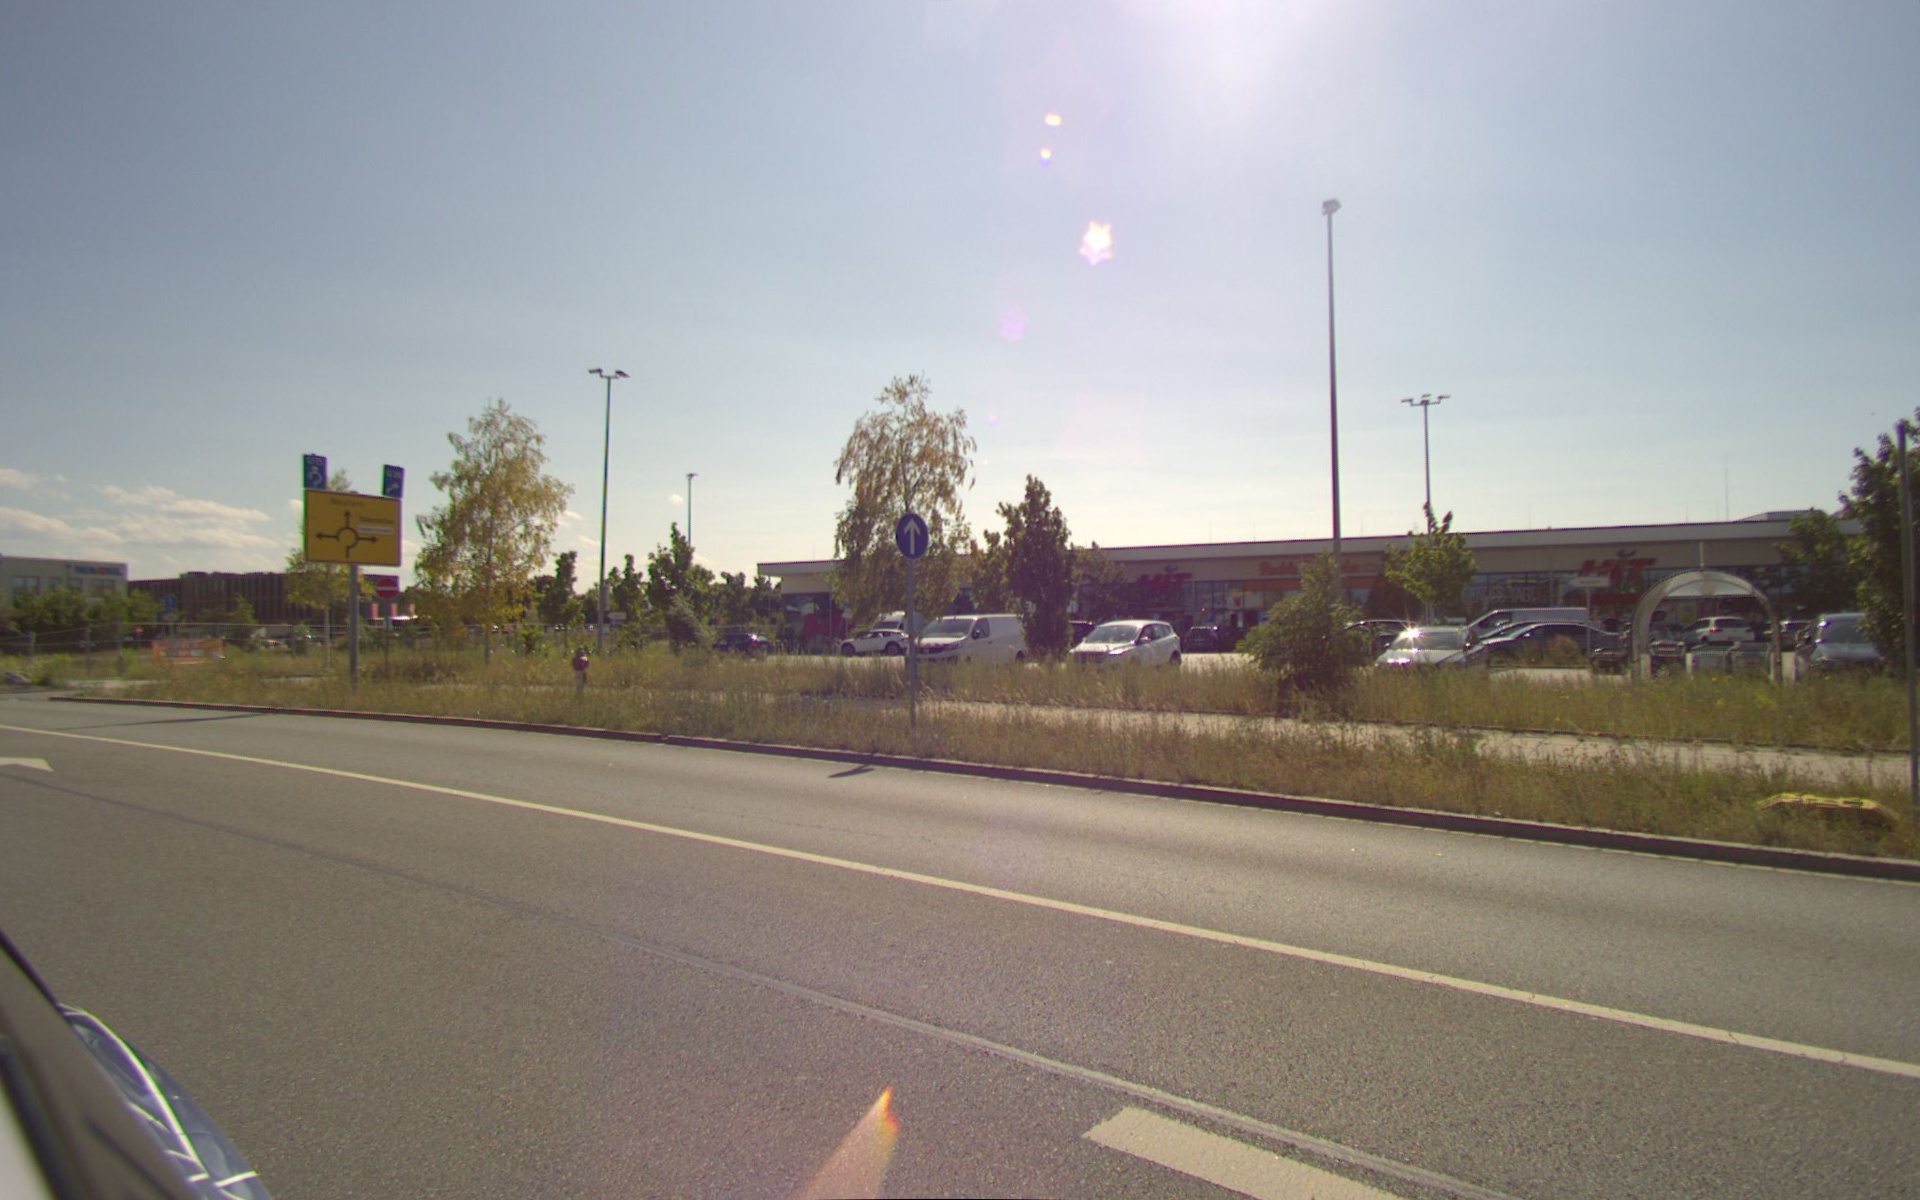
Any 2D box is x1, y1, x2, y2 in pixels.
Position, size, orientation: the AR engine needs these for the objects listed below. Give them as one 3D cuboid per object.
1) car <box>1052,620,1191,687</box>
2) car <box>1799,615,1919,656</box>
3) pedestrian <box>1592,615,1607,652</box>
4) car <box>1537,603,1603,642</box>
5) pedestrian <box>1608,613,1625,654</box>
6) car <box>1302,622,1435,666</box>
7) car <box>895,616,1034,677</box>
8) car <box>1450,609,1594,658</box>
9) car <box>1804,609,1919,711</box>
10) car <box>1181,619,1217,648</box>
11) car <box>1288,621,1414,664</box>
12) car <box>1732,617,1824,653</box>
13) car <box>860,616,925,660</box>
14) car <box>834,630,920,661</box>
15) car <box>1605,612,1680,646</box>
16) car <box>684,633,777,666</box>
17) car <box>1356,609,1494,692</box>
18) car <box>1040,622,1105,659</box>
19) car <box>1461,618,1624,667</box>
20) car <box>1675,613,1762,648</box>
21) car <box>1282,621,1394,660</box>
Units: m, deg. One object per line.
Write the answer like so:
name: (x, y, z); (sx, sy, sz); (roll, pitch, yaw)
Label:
car: (4.509, 1.400, 27.682); (1.995, 1.685, 4.551); (-2, -2, 34)
car: (32.966, 1.250, 36.096); (4.329, 1.428, 1.703); (-1, -2, 25)
pedestrian: (24.736, 1.295, 39.146); (0.411, 1.406, 0.506); (-1, -2, 24)
car: (30.215, 1.129, 50.267); (1.702, 1.821, 4.330); (-1, -2, 17)
pedestrian: (24.261, 1.237, 37.378); (0.411, 1.475, 0.506); (-1, -2, 24)
car: (13.974, 1.504, 34.739); (4.114, 1.436, 1.704); (-1, -2, 23)
car: (0.256, 1.353, 30.470); (1.991, 1.685, 5.146); (-2, -2, 29)
car: (21.020, 1.280, 38.065); (4.557, 1.754, 1.703); (-1, -2, 25)
car: (17.091, 1.036, 18.758); (1.879, 1.685, 4.724); (-2, -2, 36)
car: (13.280, 1.824, 56.064); (1.702, 1.531, 4.330); (-1, -2, 17)
car: (14.446, 1.579, 37.472); (4.212, 1.528, 1.704); (-1, -2, 23)
car: (37.265, 1.592, 46.236); (1.702, 1.552, 4.330); (-1, -2, 17)
car: (-4.157, 2.357, 63.121); (1.925, 2.607, 5.681); (-1, -2, 20)
car: (-4.786, 2.618, 58.384); (4.544, 1.701, 1.962); (-1, -2, 22)
car: (32.192, 1.388, 47.872); (1.702, 1.530, 4.330); (-1, -2, 17)
car: (-12.457, 2.659, 54.998); (4.382, 1.701, 2.270); (-1, -2, 17)
car: (10.738, 1.098, 23.191); (1.996, 1.685, 4.659); (-2, -2, 36)
car: (5.054, 1.790, 45.082); (1.832, 1.564, 3.969); (-1, -2, 23)
car: (18.881, 1.384, 33.033); (4.323, 1.538, 1.705); (-1, -2, 21)
car: (35.134, 1.395, 47.008); (1.818, 1.536, 4.330); (-1, -2, 17)
car: (16.044, 1.707, 43.014); (4.326, 1.599, 1.704); (-1, -2, 23)
